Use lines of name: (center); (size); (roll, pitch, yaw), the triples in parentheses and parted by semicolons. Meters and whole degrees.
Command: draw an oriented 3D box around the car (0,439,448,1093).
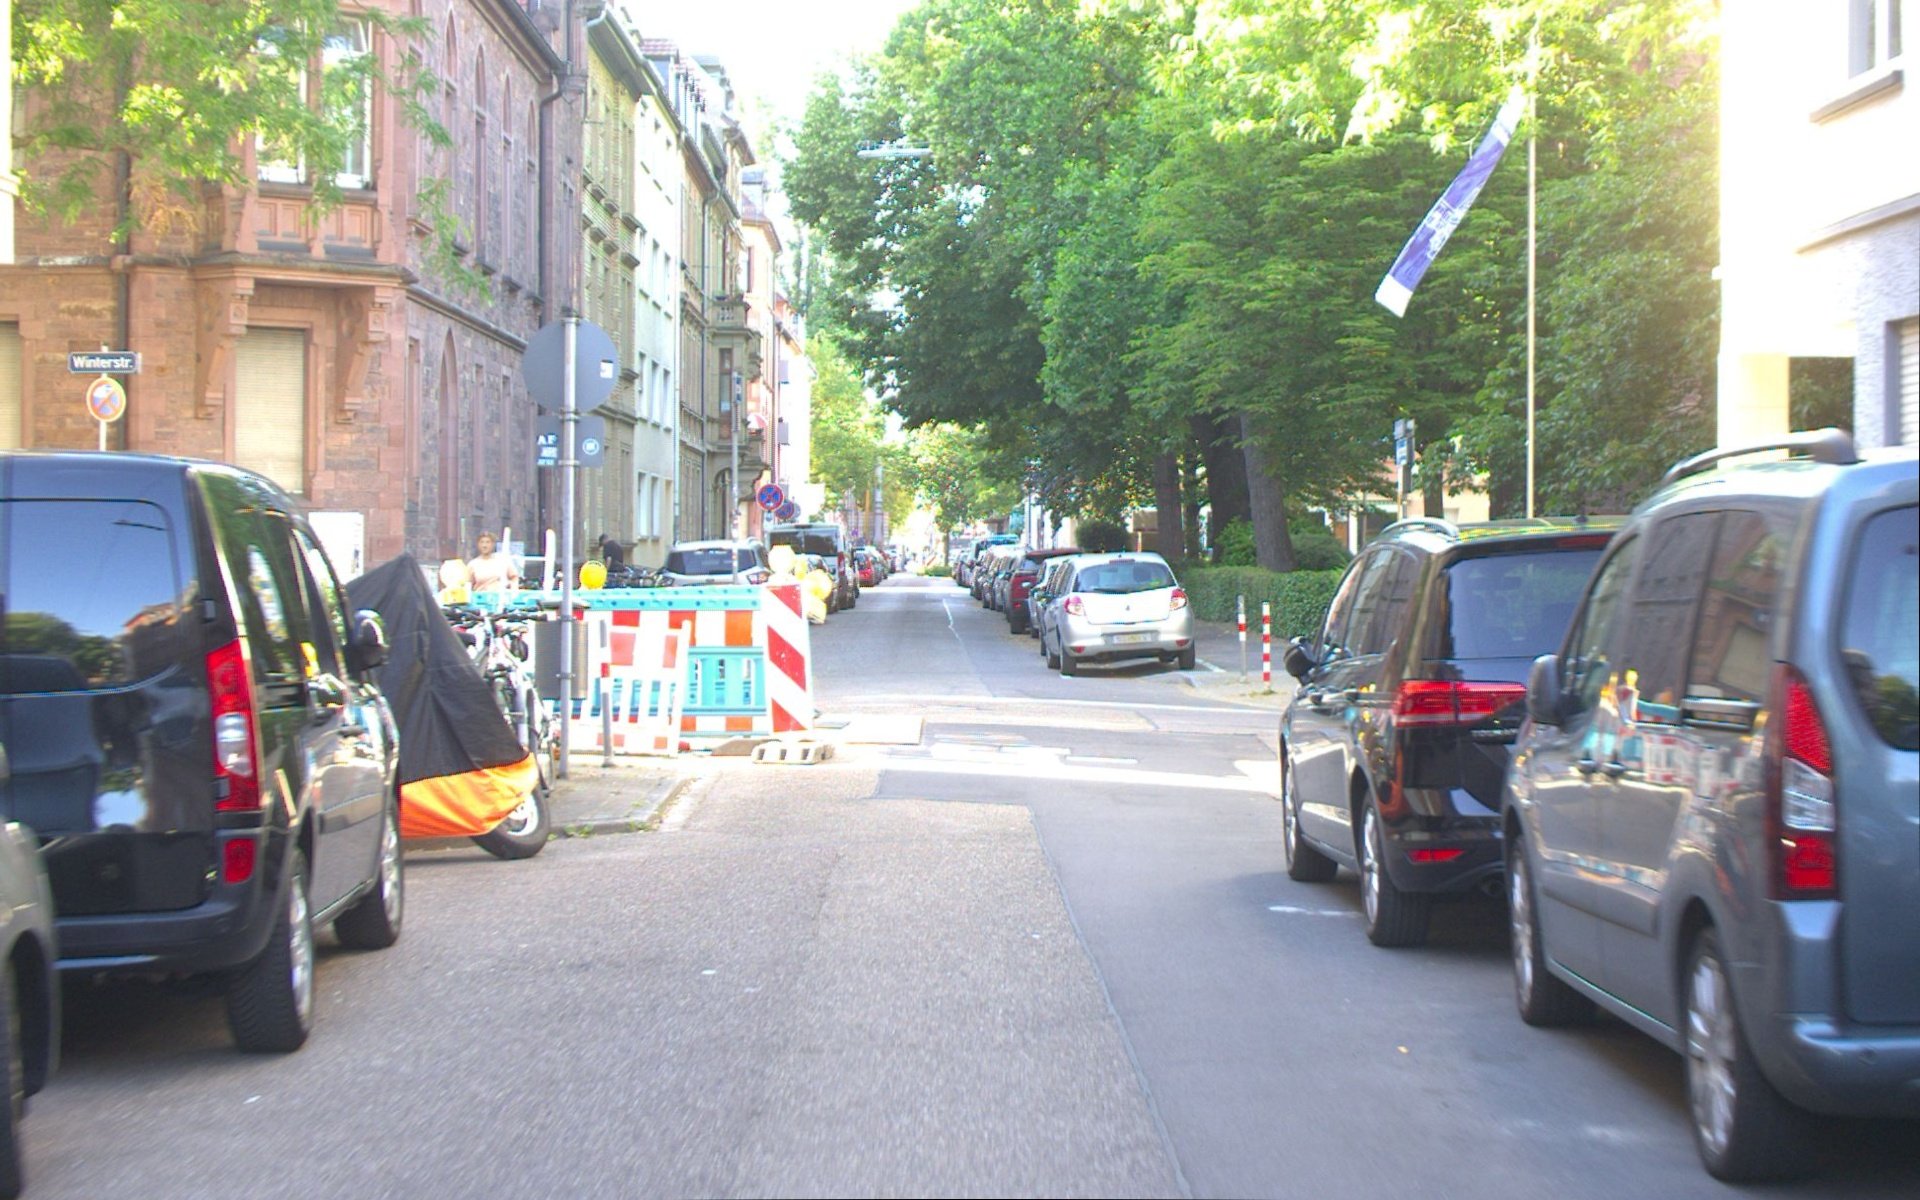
car: (-2.819, 0.412, 11.415); (1.818, 1.760, 4.336); (0, 1, -3)

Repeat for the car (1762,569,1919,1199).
car: (2.438, 0.679, 4.516); (1.754, 1.448, 4.288); (-4, 1, 1)

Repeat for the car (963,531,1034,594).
car: (1.055, -1.070, 96.521); (1.829, 1.698, 4.000); (1, 1, -1)

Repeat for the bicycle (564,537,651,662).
bicycle: (-4.156, -0.022, 40.412); (0.572, 1.418, 2.503); (0, 1, -16)

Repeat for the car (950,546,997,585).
car: (0.584, -1.545, 153.273); (1.993, 1.722, 4.000); (0, 1, -1)

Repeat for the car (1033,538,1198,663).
car: (1.952, -0.030, 44.078); (1.723, 1.517, 4.001); (0, 1, -3)

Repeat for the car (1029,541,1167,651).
car: (1.955, -0.071, 49.611); (1.723, 1.517, 4.000); (0, 0, -1)

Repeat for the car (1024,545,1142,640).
car: (2.127, -0.157, 60.445); (1.841, 1.590, 4.000); (1, 1, -1)

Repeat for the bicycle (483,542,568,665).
bicycle: (-5.149, 0.022, 40.895); (0.683, 1.418, 2.798); (0, 1, -1)

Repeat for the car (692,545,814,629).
car: (-3.645, -0.244, 61.150); (1.882, 1.406, 4.000); (-1, 0, 0)

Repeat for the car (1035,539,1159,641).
car: (2.165, -0.178, 55.253); (1.741, 1.568, 4.000); (0, 0, -1)

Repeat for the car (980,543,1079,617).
car: (1.492, -0.442, 75.149); (1.993, 1.568, 4.000); (0, 0, -1)

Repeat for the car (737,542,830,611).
car: (-3.605, -0.503, 70.835); (1.771, 1.349, 4.000); (1, 1, -1)

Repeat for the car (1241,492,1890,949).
car: (2.359, 0.415, 14.561); (1.900, 1.634, 4.391); (0, 0, -1)

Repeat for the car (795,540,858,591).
car: (-4.206, -1.084, 108.788); (1.902, 1.568, 4.000); (0, 0, -1)

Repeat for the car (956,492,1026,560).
car: (1.023, -2.465, 115.599); (2.160, 2.248, 4.526); (0, 0, -2)

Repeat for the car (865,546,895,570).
car: (-5.490, -2.866, 235.497); (1.993, 1.641, 4.000); (0, 0, -1)

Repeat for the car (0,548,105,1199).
car: (-2.954, 0.612, 6.698); (1.677, 1.444, 3.645); (1, 1, -1)

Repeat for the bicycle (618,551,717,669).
bicycle: (-3.447, 0.099, 40.366); (0.682, 1.340, 2.503); (0, 1, -16)

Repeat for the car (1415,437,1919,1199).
car: (2.556, 0.460, 9.881); (1.753, 1.780, 4.724); (-2, 1, -1)

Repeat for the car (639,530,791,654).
car: (-3.521, -0.126, 50.075); (1.882, 1.701, 4.000); (-1, 0, 0)

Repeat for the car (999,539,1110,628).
car: (1.760, -0.321, 65.274); (1.894, 1.620, 4.000); (1, 0, -1)

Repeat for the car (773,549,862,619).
car: (-3.282, -0.377, 79.745); (1.993, 1.568, 4.000); (0, 0, -1)

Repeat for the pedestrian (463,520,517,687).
pedestrian: (-4.937, 0.032, 36.126); (0.524, 1.734, 0.558); (0, 1, -5)

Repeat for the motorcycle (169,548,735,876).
motorcycle: (-2.426, 0.507, 16.497); (2.511, 1.477, 0.904); (0, 1, -27)

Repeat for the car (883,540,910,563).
car: (-4.747, -3.640, 257.617); (1.993, 1.641, 4.000); (0, 0, -1)

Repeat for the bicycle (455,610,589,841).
bicycle: (-2.338, 0.647, 18.475); (0.425, 1.136, 1.666); (3, 1, 1)

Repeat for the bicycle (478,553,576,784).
bicycle: (-2.454, 0.365, 19.573); (0.399, 1.223, 1.505); (0, 2, -2)

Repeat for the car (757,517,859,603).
car: (-3.860, -1.020, 88.144); (2.309, 2.107, 5.170); (0, 0, 1)
